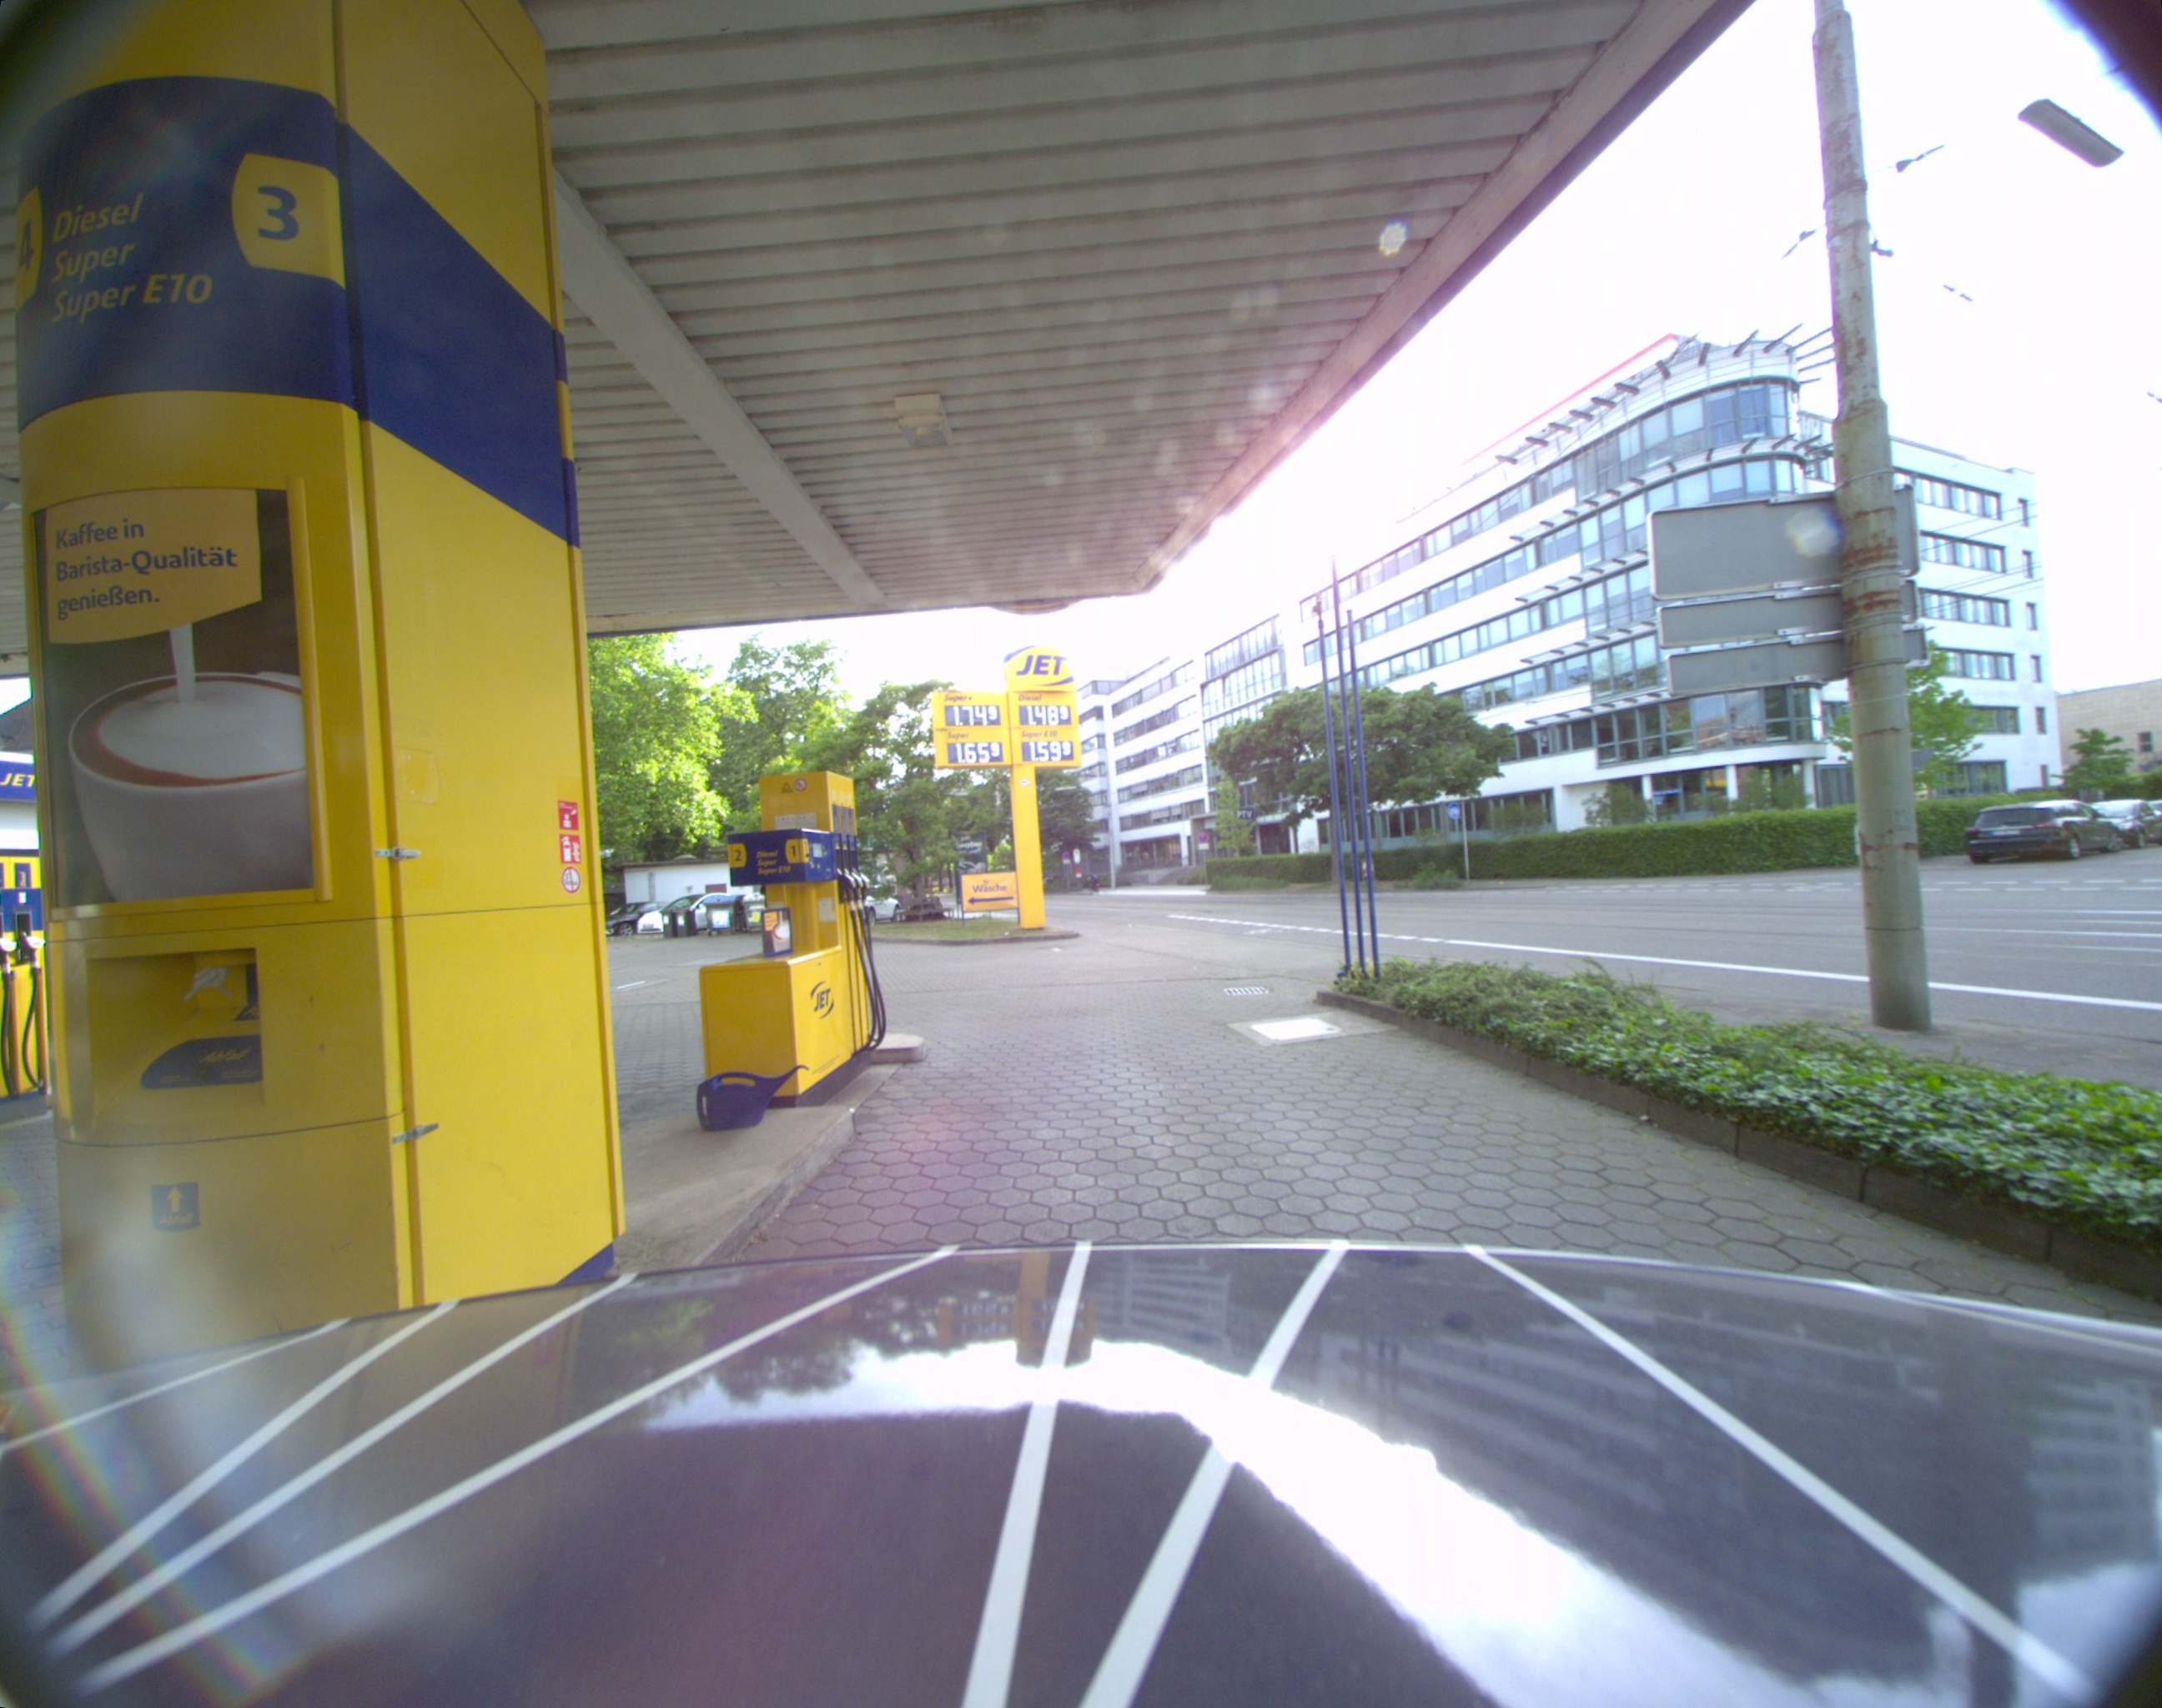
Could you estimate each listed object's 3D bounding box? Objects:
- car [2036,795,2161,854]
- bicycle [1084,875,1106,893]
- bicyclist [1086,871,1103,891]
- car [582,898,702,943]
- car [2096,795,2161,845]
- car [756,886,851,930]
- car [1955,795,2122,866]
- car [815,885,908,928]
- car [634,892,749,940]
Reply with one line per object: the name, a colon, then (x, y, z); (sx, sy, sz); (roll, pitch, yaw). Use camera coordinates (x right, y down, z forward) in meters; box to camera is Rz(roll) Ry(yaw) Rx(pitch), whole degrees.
car: (32.582, -0.959, 24.067); (4.201, 1.568, 1.820); (-4, -1, -24)
bicycle: (1.015, 2.181, 55.537); (0.792, 1.232, 1.879); (-3, 0, -24)
bicyclist: (0.980, 1.954, 55.615); (0.792, 1.443, 1.174); (-3, 1, -24)
car: (-17.528, 2.620, 30.608); (1.823, 1.426, 4.200); (-4, -2, 10)
car: (37.111, -1.252, 26.015); (4.201, 1.568, 1.820); (-4, -1, -24)
car: (-11.740, 2.255, 32.465); (1.823, 1.575, 4.200); (-4, -2, 10)
car: (27.424, -0.670, 21.756); (4.397, 1.678, 1.820); (-4, -1, -24)
car: (-8.650, 2.038, 30.377); (1.823, 1.449, 4.200); (-4, -2, 10)
car: (-15.384, 2.402, 30.253); (1.823, 1.575, 4.200); (-4, -2, 10)
